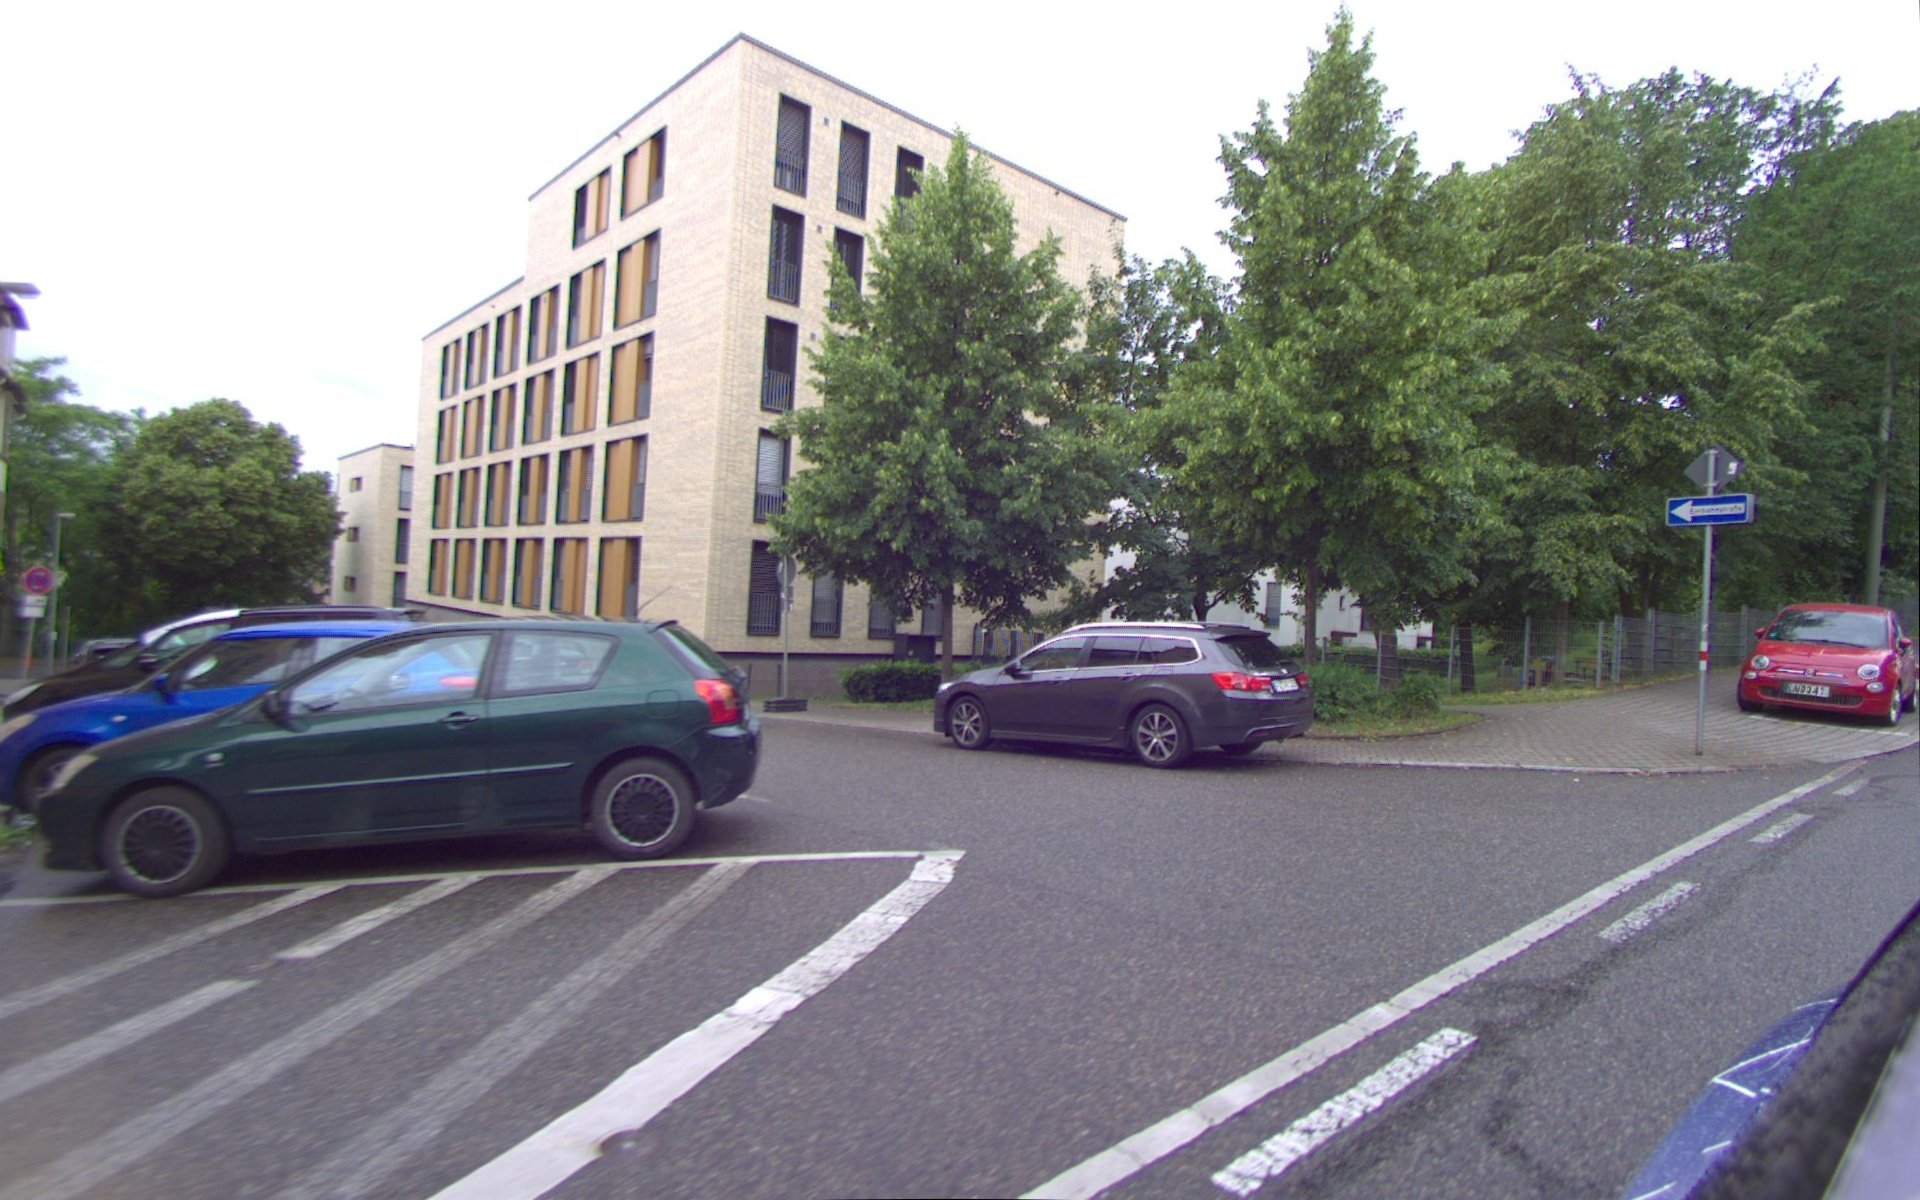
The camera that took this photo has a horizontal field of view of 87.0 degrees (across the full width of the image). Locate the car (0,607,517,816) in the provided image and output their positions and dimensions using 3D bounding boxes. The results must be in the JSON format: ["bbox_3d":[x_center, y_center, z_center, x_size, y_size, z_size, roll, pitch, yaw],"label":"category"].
[{"bbox_3d":[-5.827,0.848,8.536,3.560,1.511,1.712,1,-1,-14],"label":"car"}]

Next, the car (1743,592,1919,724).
[{"bbox_3d":[12.483,0.698,14.169,3.889,1.520,1.613,0,3,-41],"label":"car"}]

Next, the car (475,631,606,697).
[{"bbox_3d":[-10.059,1.496,24.156,1.747,1.444,3.520,4,-4,-43],"label":"car"}]

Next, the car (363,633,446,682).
[{"bbox_3d":[-18.866,1.917,34.281,1.707,1.557,4.072,4,-4,-39],"label":"car"}]

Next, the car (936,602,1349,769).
[{"bbox_3d":[1.899,0.852,11.460,1.970,1.518,4.268,3,-3,-45],"label":"car"}]

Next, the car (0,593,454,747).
[{"bbox_3d":[-9.118,0.848,12.978,4.444,1.746,1.712,1,-1,-16],"label":"car"}]

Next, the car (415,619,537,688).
[{"bbox_3d":[-13.431,1.464,27.974,1.933,1.731,4.328,4,-4,-40],"label":"car"}]

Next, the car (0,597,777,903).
[{"bbox_3d":[-3.280,0.812,6.639,4.026,1.488,1.858,-2,-1,-9],"label":"car"}]

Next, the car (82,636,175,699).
[{"bbox_3d":[-20.183,1.599,24.553,1.583,1.407,3.522,4,-4,-40],"label":"car"}]
